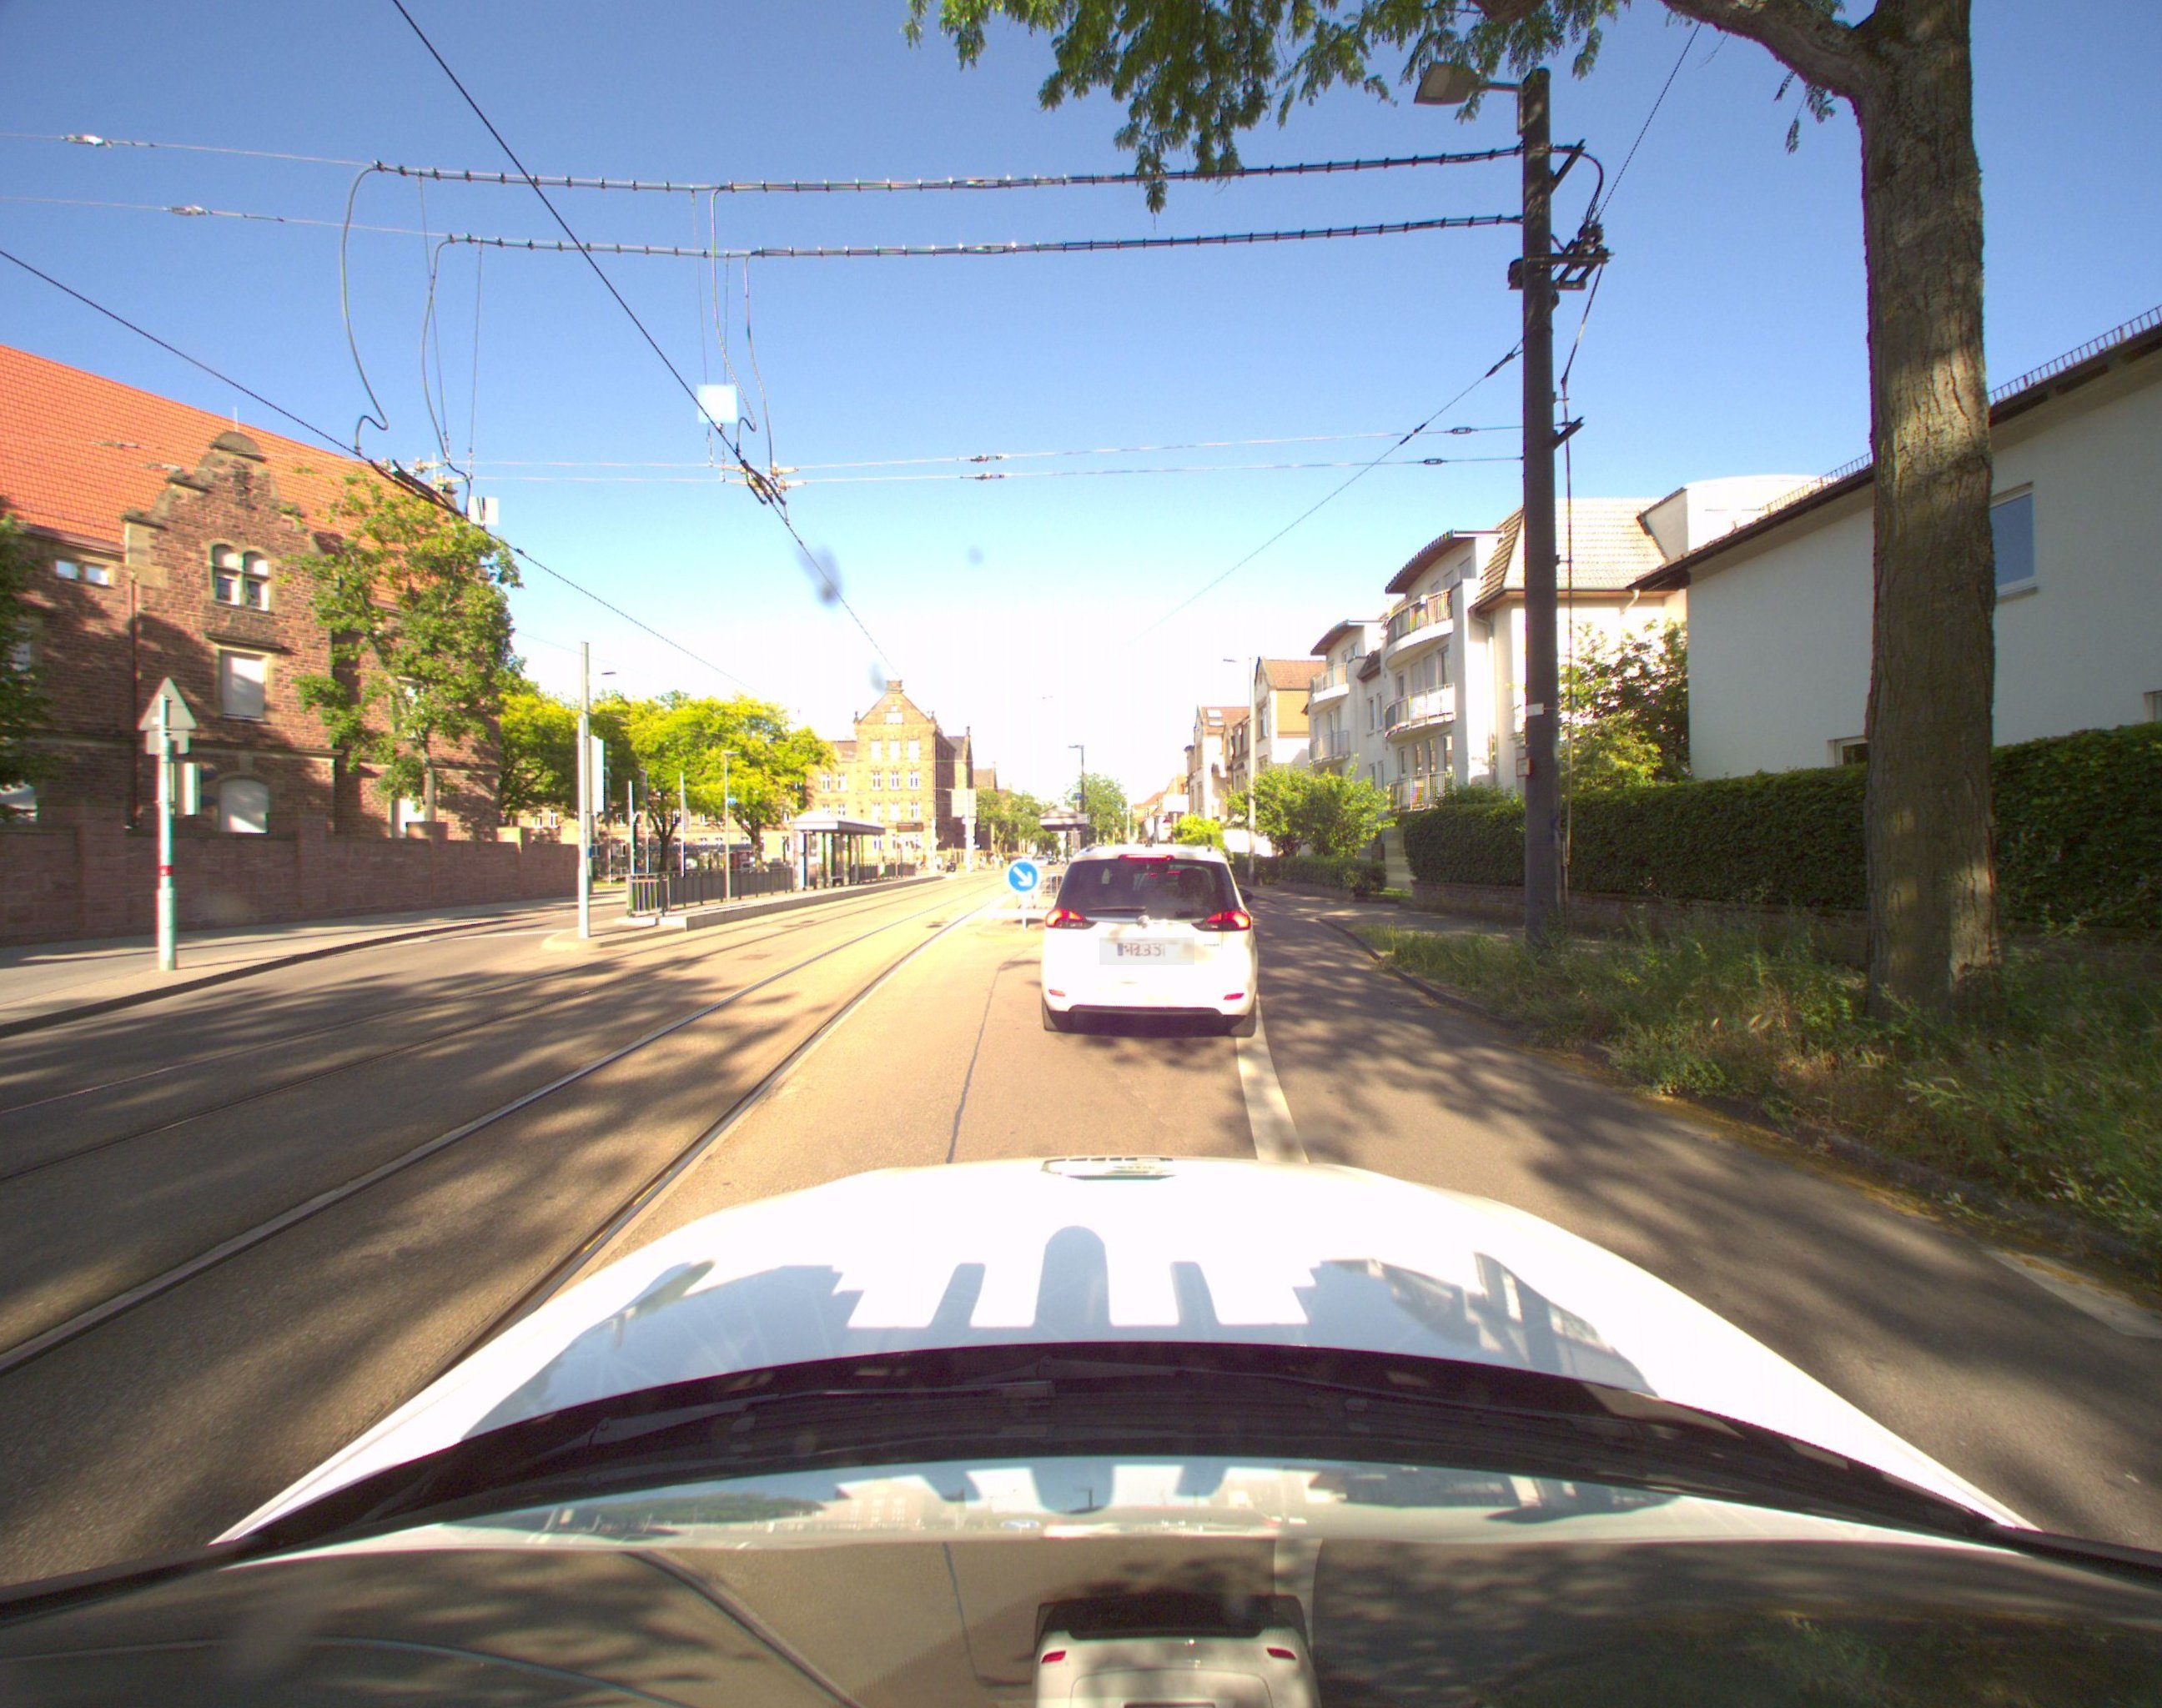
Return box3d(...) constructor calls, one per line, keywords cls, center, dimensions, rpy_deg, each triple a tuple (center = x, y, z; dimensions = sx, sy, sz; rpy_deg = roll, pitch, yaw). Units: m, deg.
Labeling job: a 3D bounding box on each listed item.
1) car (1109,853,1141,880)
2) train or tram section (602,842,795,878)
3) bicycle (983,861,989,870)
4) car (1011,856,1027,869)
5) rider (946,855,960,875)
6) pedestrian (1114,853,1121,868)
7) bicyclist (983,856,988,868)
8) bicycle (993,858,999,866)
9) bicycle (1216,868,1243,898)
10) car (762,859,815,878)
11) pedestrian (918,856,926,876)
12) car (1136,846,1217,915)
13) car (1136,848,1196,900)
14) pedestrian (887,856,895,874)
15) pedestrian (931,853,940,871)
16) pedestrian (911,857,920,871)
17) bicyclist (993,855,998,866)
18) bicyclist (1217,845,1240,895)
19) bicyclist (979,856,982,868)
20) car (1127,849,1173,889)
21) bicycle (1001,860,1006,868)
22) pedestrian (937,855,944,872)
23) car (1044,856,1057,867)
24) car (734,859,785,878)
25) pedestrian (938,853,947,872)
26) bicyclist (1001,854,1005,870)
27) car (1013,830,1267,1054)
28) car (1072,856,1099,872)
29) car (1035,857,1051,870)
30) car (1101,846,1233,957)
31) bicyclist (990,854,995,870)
box3d(cls="car", center=(2.845, 0.755, 53.171), dimensions=(1.901, 1.661, 4.000), rpy_deg=(-1, 0, 0))
box3d(cls="train or tram section", center=(-37.840, 0.589, 81.137), dimensions=(17.346, 3.154, 3.344), rpy_deg=(-1, -1, -3))
box3d(cls="bicycle", center=(-11.464, 1.383, 98.125), dimensions=(0.507, 1.077, 1.739), rpy_deg=(0, -1, 2))
box3d(cls="car", center=(-8.404, 1.092, 110.376), dimensions=(1.740, 1.716, 4.001), rpy_deg=(0, -1, 2))
box3d(cls="rider", center=(-11.724, 0.988, 74.609), dimensions=(0.793, 1.782, 2.488), rpy_deg=(0, -1, 1))
box3d(cls="pedestrian", center=(4.649, 0.842, 103.411), dimensions=(0.802, 1.901, 0.747), rpy_deg=(-1, -1, 16))
box3d(cls="bicyclist", center=(-11.462, 0.976, 98.055), dimensions=(0.529, 1.477, 0.572), rpy_deg=(0, -1, 1))
box3d(cls="bicycle", center=(-11.056, 1.001, 105.683), dimensions=(0.507, 1.077, 1.739), rpy_deg=(0, -1, 2))
box3d(cls="bicycle", center=(5.015, 0.977, 27.645), dimensions=(0.673, 0.925, 1.887), rpy_deg=(-1, 0, 3))
box3d(cls="car", center=(-25.442, 1.249, 70.961), dimensions=(3.976, 1.630, 1.817), rpy_deg=(0, -1, -2))
box3d(cls="pedestrian", center=(-16.067, 1.243, 82.411), dimensions=(0.795, 2.014, 1.042), rpy_deg=(0, -1, -12))
box3d(cls="car", center=(2.622, 0.641, 21.678), dimensions=(1.896, 1.624, 4.010), rpy_deg=(-1, 0, 9))
box3d(cls="car", center=(2.978, 0.655, 28.335), dimensions=(1.897, 1.661, 4.007), rpy_deg=(-1, 0, 6))
box3d(cls="pedestrian", center=(-18.966, 1.124, 81.290), dimensions=(0.768, 1.774, 0.717), rpy_deg=(0, -1, -15))
box3d(cls="pedestrian", center=(-16.773, 0.937, 93.776), dimensions=(0.711, 2.014, 0.802), rpy_deg=(-1, -1, 35))
box3d(cls="pedestrian", center=(-18.439, 1.122, 90.563), dimensions=(0.647, 1.612, 0.715), rpy_deg=(-1, -1, 35))
box3d(cls="bicyclist", center=(-11.076, 0.851, 105.739), dimensions=(0.529, 1.477, 0.572), rpy_deg=(0, -1, 1))
box3d(cls="bicyclist", center=(4.997, 0.529, 27.626), dimensions=(0.673, 1.658, 0.745), rpy_deg=(-1, 0, 2))
box3d(cls="bicyclist", center=(-11.632, 0.940, 94.486), dimensions=(0.312, 1.444, 0.384), rpy_deg=(0, -1, 1))
box3d(cls="car", center=(2.999, 0.620, 36.179), dimensions=(1.899, 1.661, 4.003), rpy_deg=(-1, 0, 3))
box3d(cls="bicycle", center=(-10.121, 1.328, 106.013), dimensions=(0.485, 0.971, 1.406), rpy_deg=(0, -1, 2))
box3d(cls="pedestrian", center=(-16.456, 1.124, 95.415), dimensions=(0.686, 2.014, 0.618), rpy_deg=(0, -1, 6))
box3d(cls="car", center=(-4.699, 1.160, 126.044), dimensions=(1.740, 1.716, 4.001), rpy_deg=(0, -1, 2))
box3d(cls="car", center=(-29.650, 1.326, 75.205), dimensions=(3.976, 1.630, 1.817), rpy_deg=(0, -1, -2))
box3d(cls="pedestrian", center=(-14.548, 0.875, 85.505), dimensions=(0.796, 2.014, 0.717), rpy_deg=(0, -1, -15))
box3d(cls="bicyclist", center=(-10.127, 1.023, 105.978), dimensions=(0.486, 2.014, 0.502), rpy_deg=(0, -1, 1))
box3d(cls="car", center=(0.745, 0.667, 8.162), dimensions=(1.896, 1.661, 4.010), rpy_deg=(-1, 0, 9))
box3d(cls="car", center=(0.475, 1.071, 88.921), dimensions=(1.751, 1.716, 3.976), rpy_deg=(0, -1, -17))
box3d(cls="car", center=(-4.850, 1.195, 104.016), dimensions=(1.740, 1.716, 4.001), rpy_deg=(0, -1, 2))
box3d(cls="car", center=(1.560, 0.691, 13.857), dimensions=(1.896, 1.597, 4.010), rpy_deg=(-1, 0, 9))
box3d(cls="bicyclist", center=(-10.906, 0.986, 100.749), dimensions=(0.496, 2.014, 0.572), rpy_deg=(0, -1, 1))
